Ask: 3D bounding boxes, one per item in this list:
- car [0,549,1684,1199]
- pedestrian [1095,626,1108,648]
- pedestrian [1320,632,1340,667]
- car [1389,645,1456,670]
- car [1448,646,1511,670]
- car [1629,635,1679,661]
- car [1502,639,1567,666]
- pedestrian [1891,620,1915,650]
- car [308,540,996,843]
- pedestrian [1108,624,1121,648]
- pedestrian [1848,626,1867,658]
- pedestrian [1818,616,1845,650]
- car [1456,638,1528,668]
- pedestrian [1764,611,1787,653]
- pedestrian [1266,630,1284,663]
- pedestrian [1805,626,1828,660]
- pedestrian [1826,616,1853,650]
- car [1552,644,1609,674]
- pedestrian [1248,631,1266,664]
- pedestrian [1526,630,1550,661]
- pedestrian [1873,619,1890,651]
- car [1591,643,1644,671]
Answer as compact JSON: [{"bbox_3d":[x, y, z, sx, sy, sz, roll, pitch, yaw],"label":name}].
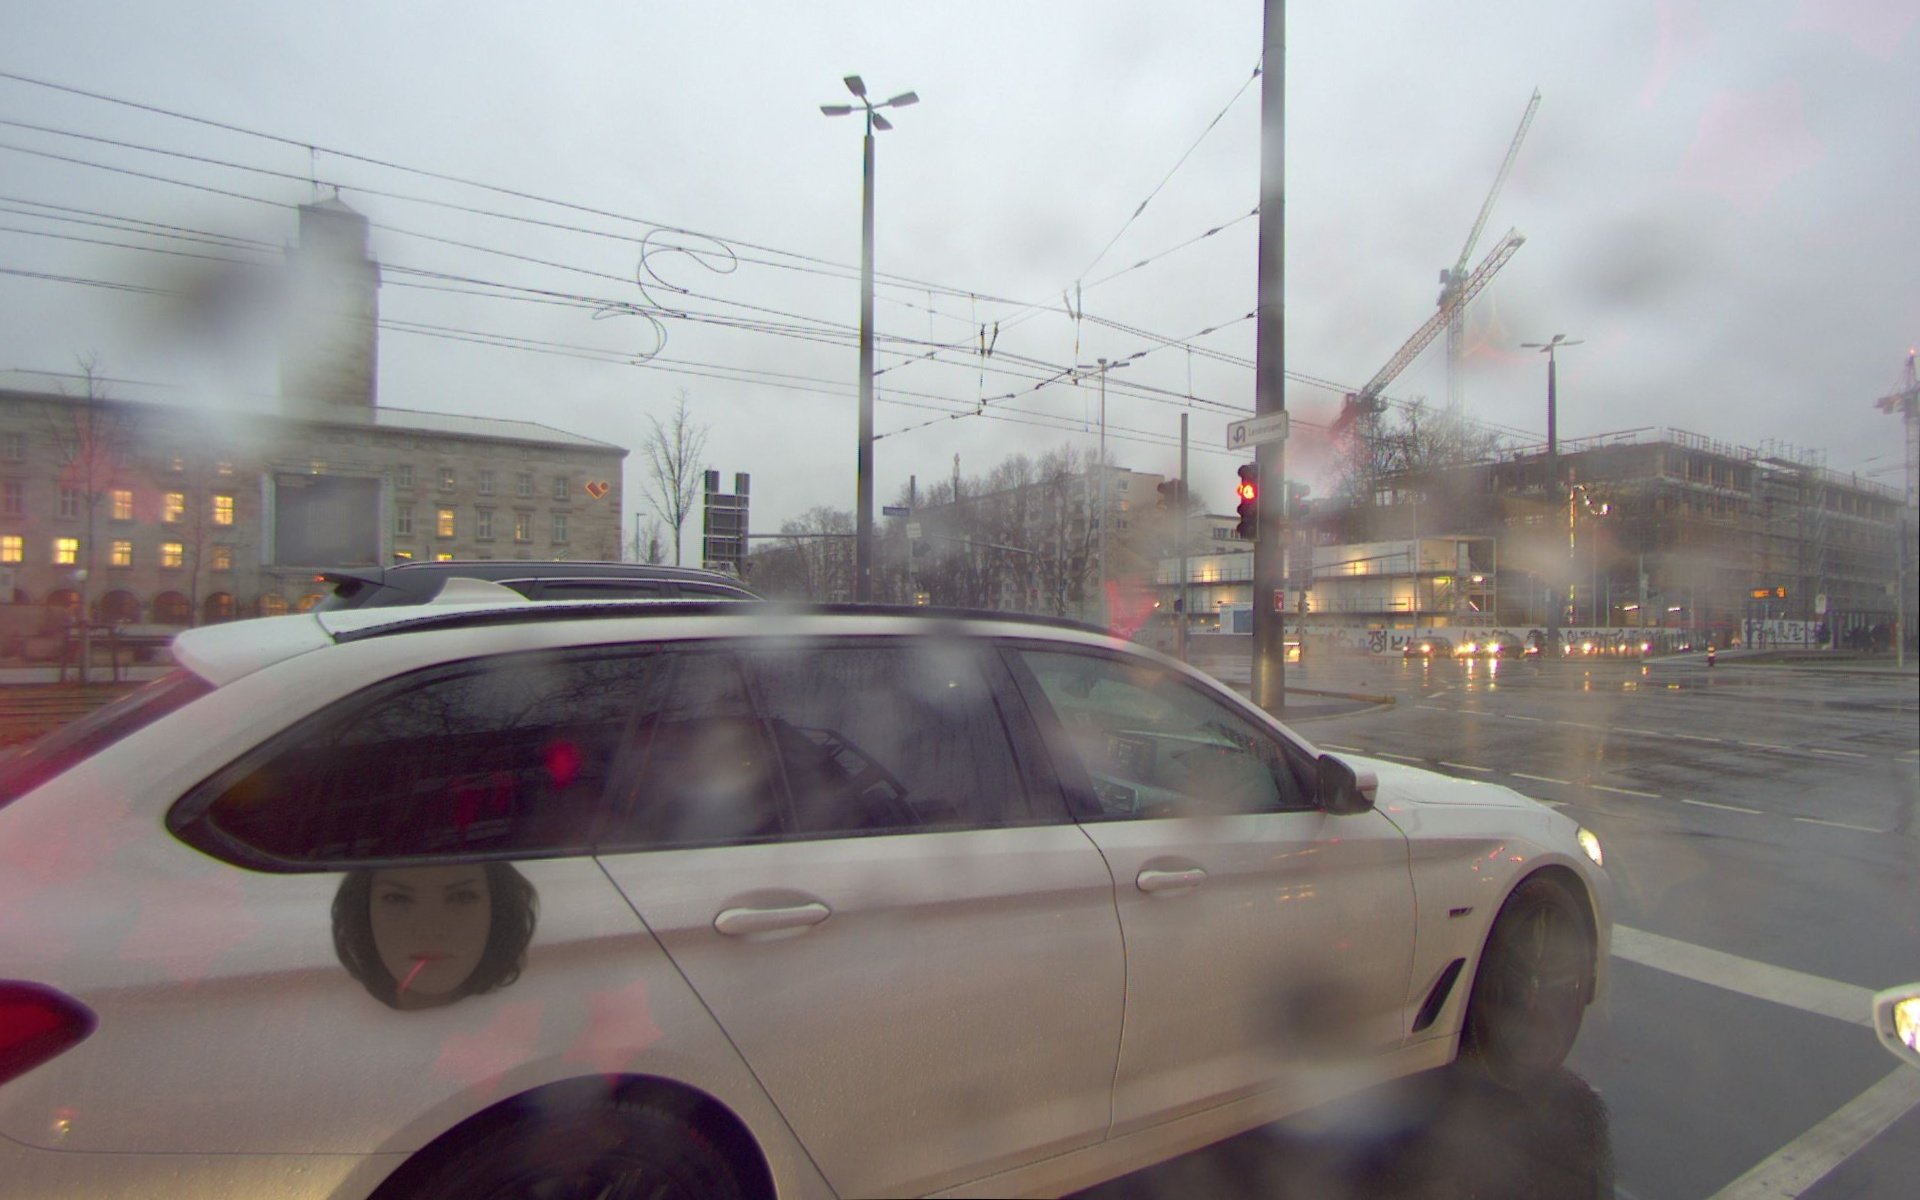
[{"bbox_3d":[0.020,0.757,3.102,4.508,1.506,2.007,2,-2,-31],"label":"car"},{"bbox_3d":[11.465,2.985,81.444,0.714,1.800,0.789,1,-1,-23],"label":"pedestrian"},{"bbox_3d":[24.224,3.241,65.746,0.758,2.194,0.867,2,0,-38],"label":"pedestrian"},{"bbox_3d":[29.354,3.632,63.743,3.953,1.550,1.984,2,-2,-30],"label":"car"},{"bbox_3d":[35.026,3.872,67.718,3.953,1.550,1.984,2,-2,-30],"label":"car"},{"bbox_3d":[50.688,3.479,73.381,3.967,1.814,1.977,2,0,-40],"label":"car"},{"bbox_3d":[35.889,3.257,62.719,4.577,1.550,2.059,2,-2,-40],"label":"car"},{"bbox_3d":[65.328,2.402,69.595,1.082,2.040,0.937,2,0,-32],"label":"pedestrian"},{"bbox_3d":[-2.057,0.560,7.234,4.238,1.605,1.958,2,-1,-29],"label":"car"},{"bbox_3d":[12.573,2.957,81.809,0.709,1.927,0.787,1,-1,-31],"label":"pedestrian"},{"bbox_3d":[53.223,2.485,59.555,0.547,1.906,0.695,2,0,-30],"label":"pedestrian"},{"bbox_3d":[53.555,2.007,61.711,1.082,2.040,0.937,2,0,-32],"label":"pedestrian"},{"bbox_3d":[31.364,3.095,59.176,3.953,1.679,1.984,2,-2,-30],"label":"car"},{"bbox_3d":[47.099,1.852,58.008,0.754,2.354,0.761,3,-1,-30],"label":"pedestrian"},{"bbox_3d":[20.253,2.985,64.565,0.737,2.040,0.783,2,0,-25],"label":"pedestrian"},{"bbox_3d":[49.950,2.502,58.600,0.754,1.922,0.761,3,-1,-30],"label":"pedestrian"},{"bbox_3d":[54.928,2.053,62.719,1.082,2.040,0.937,2,0,-32],"label":"pedestrian"},{"bbox_3d":[41.024,3.873,66.380,3.963,1.852,1.852,2,0,-37],"label":"car"},{"bbox_3d":[19.123,3.047,64.692,0.620,2.040,0.856,2,0,-37],"label":"pedestrian"},{"bbox_3d":[27.704,2.178,48.122,0.710,1.407,0.730,2,0,2],"label":"pedestrian"},{"bbox_3d":[58.057,2.219,63.295,0.659,1.994,0.566,2,1,-36],"label":"pedestrian"},{"bbox_3d":[46.071,3.987,70.375,3.967,1.814,1.977,2,0,-40],"label":"car"}]
